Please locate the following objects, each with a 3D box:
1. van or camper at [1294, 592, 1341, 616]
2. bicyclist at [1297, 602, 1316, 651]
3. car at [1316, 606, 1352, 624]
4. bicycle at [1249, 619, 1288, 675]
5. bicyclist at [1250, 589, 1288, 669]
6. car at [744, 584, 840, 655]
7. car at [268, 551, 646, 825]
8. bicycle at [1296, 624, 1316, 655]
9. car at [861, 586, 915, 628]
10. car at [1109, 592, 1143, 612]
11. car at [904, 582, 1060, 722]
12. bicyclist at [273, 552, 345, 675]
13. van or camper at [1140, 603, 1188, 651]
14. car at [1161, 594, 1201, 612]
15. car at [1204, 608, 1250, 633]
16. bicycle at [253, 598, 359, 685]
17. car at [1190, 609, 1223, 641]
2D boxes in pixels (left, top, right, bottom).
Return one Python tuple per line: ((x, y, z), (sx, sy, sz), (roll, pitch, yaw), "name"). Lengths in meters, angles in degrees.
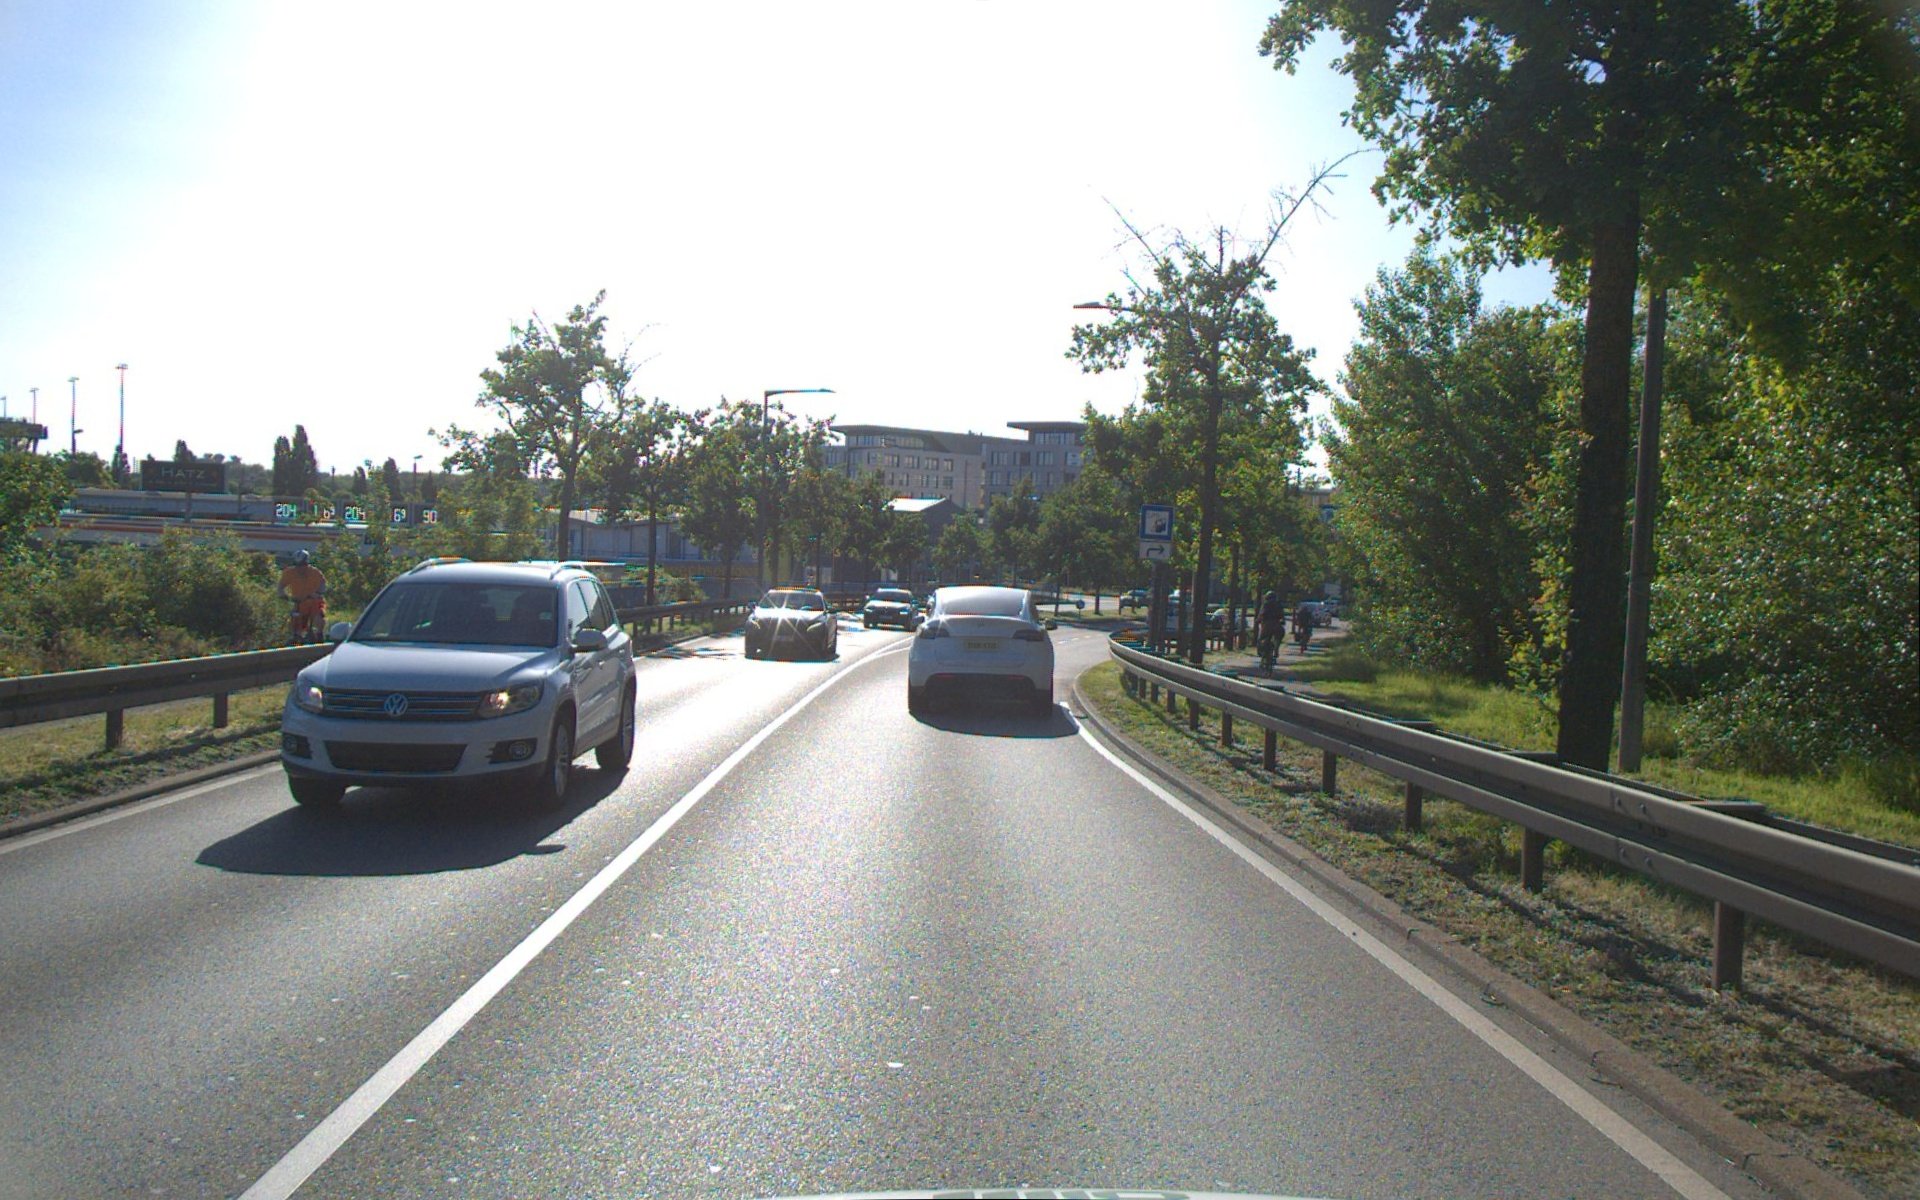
((29.206, 0.334, 134.947), (1.798, 1.821, 4.521), (5, 3, 39), "van or camper")
((13.219, 1.001, 63.160), (0.661, 1.807, 0.949), (1, 0, 10), "bicyclist")
((35.335, 1.398, 156.402), (1.683, 1.548, 3.721), (5, 3, 41), "car")
((6.351, 0.958, 34.009), (0.686, 1.093, 1.922), (1, -1, 13), "bicycle")
((6.363, 0.612, 34.043), (0.692, 1.606, 1.005), (1, -2, 13), "bicyclist")
((-3.668, 0.393, 36.794), (1.656, 1.466, 4.216), (1, 0, 0), "car")
((-3.529, 0.537, 12.361), (1.694, 1.687, 3.980), (1, 0, -2), "car")
((13.201, 1.492, 63.122), (0.680, 1.114, 2.119), (1, 0, 10), "bicycle")
((-2.756, 0.245, 64.212), (1.772, 1.523, 4.370), (1, 0, 1), "car")
((14.328, 0.169, 142.444), (1.726, 1.514, 4.277), (4, 1, 21), "car")
((0.371, 0.615, 22.433), (1.874, 1.669, 4.412), (1, 0, 3), "car")
((-8.982, 0.182, 22.850), (0.638, 1.651, 0.874), (1, 0, -2), "bicyclist")
((8.840, 1.135, 72.012), (1.917, 1.916, 4.883), (1, 0, 6), "van or camper")
((21.330, 0.295, 159.563), (1.703, 1.409, 4.474), (5, 1, 38), "car")
((18.368, 1.394, 113.618), (1.730, 1.500, 4.283), (4, 2, 28), "car")
((-8.990, 0.550, 22.822), (0.647, 1.114, 2.108), (1, 0, -1), "bicycle")
((13.858, 1.370, 92.753), (1.570, 1.459, 3.682), (4, 3, 11), "car")
